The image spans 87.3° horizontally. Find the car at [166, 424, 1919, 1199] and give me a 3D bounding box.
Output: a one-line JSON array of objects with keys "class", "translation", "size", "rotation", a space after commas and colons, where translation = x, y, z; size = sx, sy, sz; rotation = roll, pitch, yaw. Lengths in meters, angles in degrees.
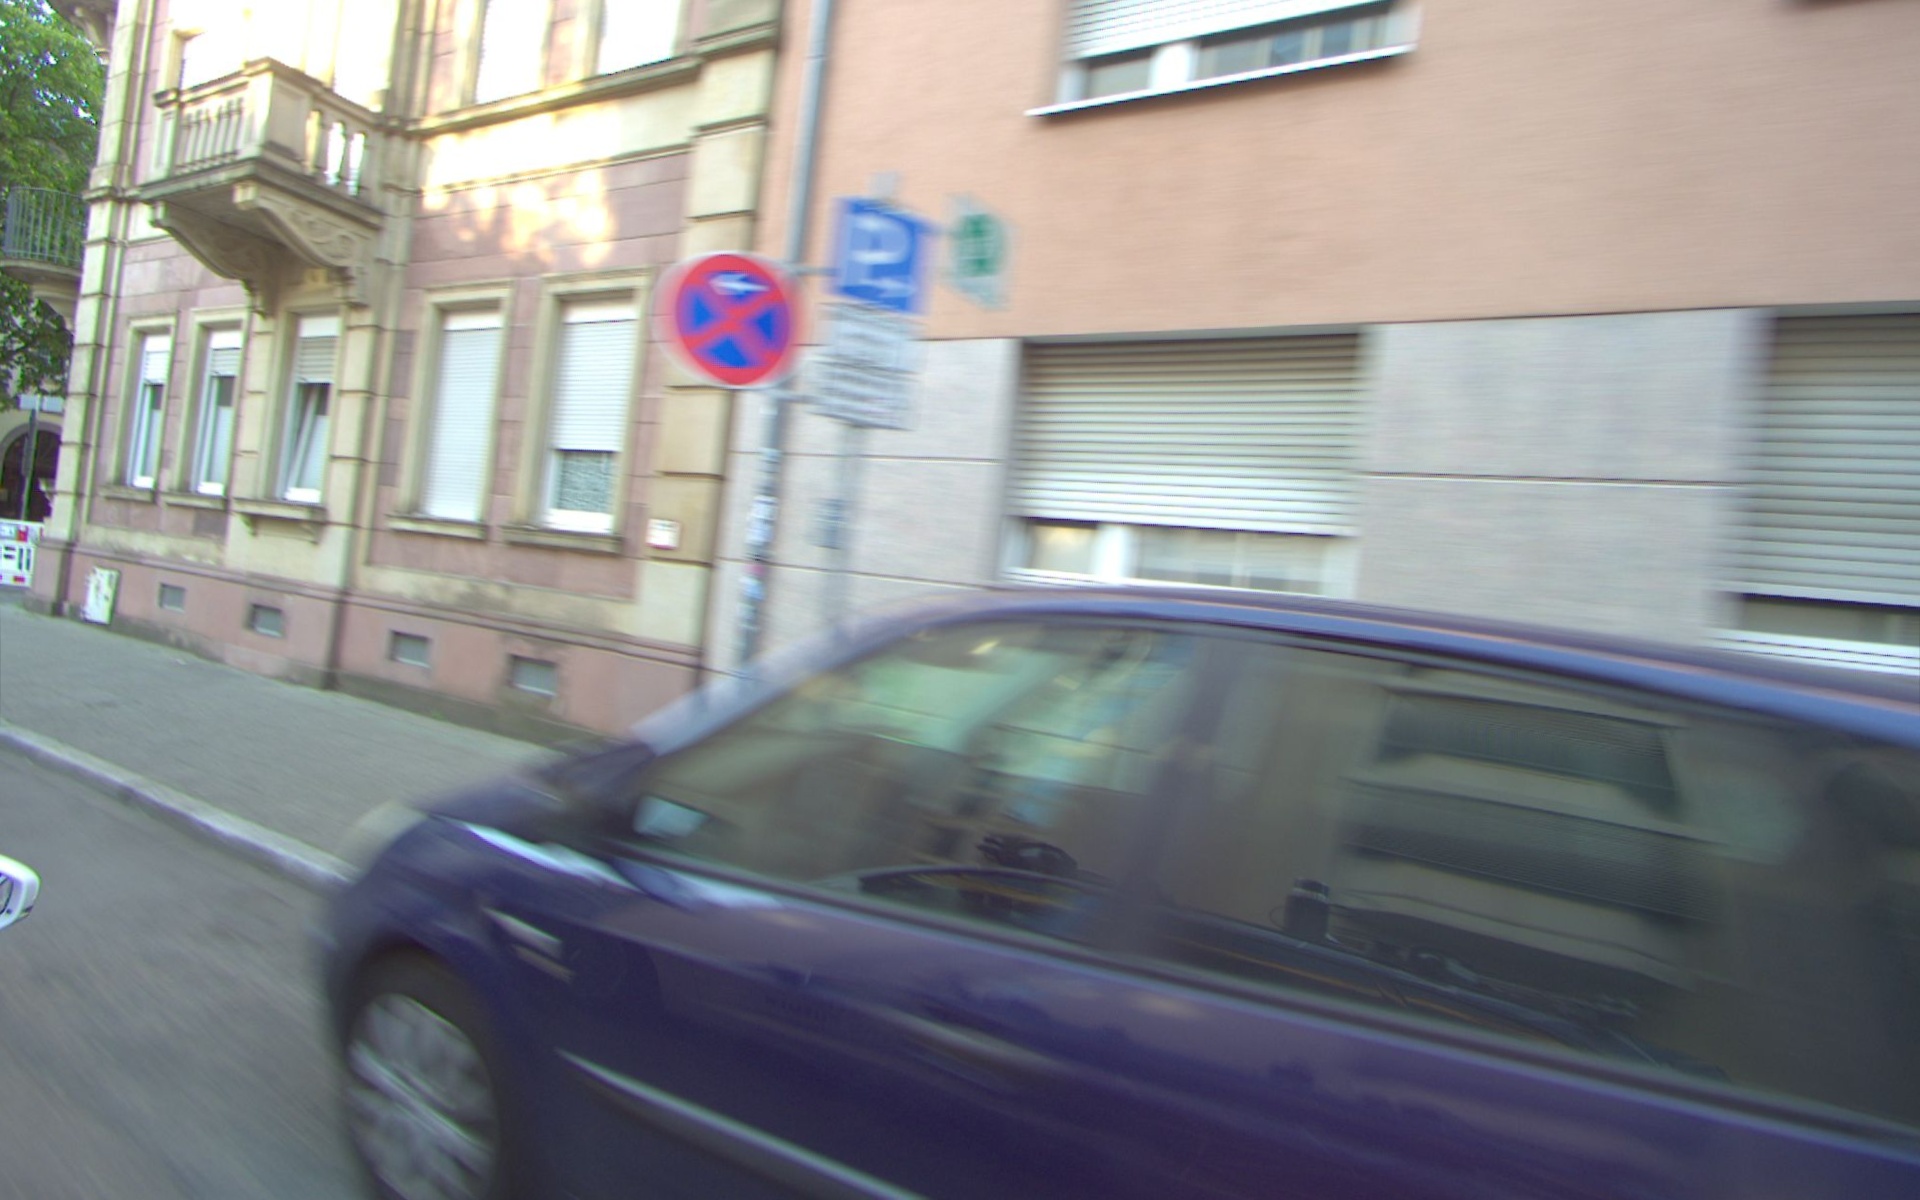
[{"class": "car", "translation": [0.216, 0.669, 2.381], "size": [3.984, 1.644, 1.694], "rotation": [7, -1, 28]}]

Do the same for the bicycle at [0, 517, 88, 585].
[{"class": "bicycle", "translation": [-16.574, -0.877, 17.798], "size": [0.357, 1.103, 1.871], "rotation": [6, -1, 9]}]
